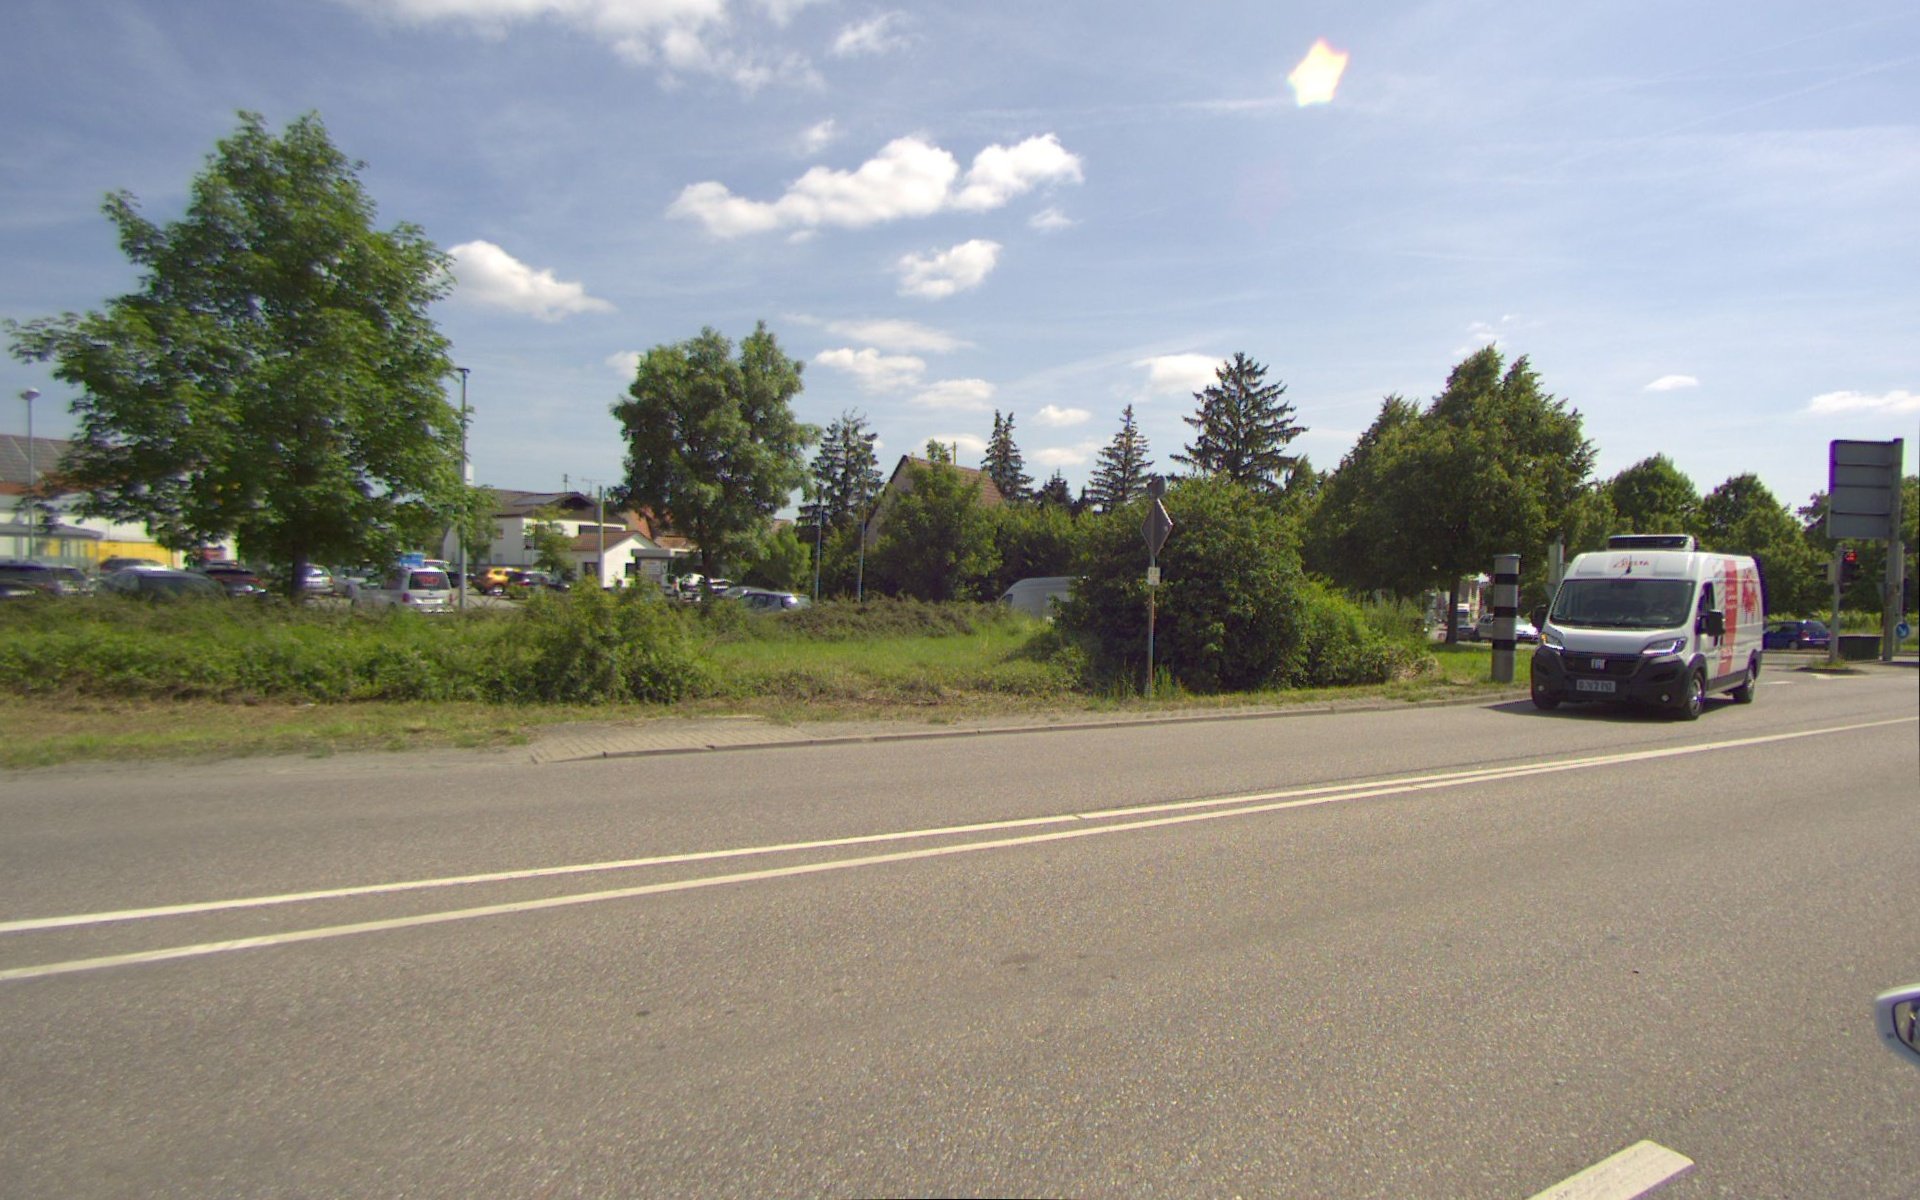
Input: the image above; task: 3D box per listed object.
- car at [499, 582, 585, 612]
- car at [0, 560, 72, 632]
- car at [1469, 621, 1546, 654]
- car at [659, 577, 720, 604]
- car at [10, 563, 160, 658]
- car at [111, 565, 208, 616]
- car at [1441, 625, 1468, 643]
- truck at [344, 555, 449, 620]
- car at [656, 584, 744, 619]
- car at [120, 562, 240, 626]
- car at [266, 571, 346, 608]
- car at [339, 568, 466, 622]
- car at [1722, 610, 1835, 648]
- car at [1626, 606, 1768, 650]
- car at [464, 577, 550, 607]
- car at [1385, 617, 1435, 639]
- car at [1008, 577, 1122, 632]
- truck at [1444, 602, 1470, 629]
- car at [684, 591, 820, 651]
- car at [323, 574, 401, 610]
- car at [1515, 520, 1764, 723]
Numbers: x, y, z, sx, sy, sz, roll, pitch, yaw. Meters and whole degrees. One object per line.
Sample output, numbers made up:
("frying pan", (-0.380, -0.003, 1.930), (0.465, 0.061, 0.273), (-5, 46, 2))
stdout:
("car", (-24.184, -0.165, 58.201), (1.849, 1.562, 4.243), (2, -1, 37))
("car", (-24.444, -0.153, 25.789), (3.939, 1.697, 1.903), (3, 1, 40))
("car", (27.111, 1.822, 49.911), (1.759, 1.436, 4.048), (0, 0, 2))
("car", (-19.807, -0.690, 73.642), (1.866, 1.782, 3.988), (2, 0, 35))
("car", (-17.198, 0.179, 19.686), (3.941, 1.679, 1.686), (2, 0, 42))
("car", (-26.149, -0.326, 32.786), (3.941, 1.549, 1.770), (2, 0, 41))
("car", (45.093, 3.070, 91.672), (1.962, 1.448, 3.998), (2, 0, 23))
("truck", (-21.978, -0.508, 39.147), (3.932, 2.397, 1.994), (2, 0, 34))
("car", (-13.219, 0.086, 51.247), (1.883, 1.662, 3.984), (2, 0, 38))
("car", (-22.487, -0.187, 28.909), (3.939, 1.711, 1.918), (2, 0, 40))
("car", (-29.924, -0.475, 45.908), (4.193, 1.562, 1.871), (2, 0, 40))
("car", (-18.955, -0.192, 34.118), (4.353, 1.717, 1.994), (1, 0, 34))
("car", (37.729, 1.307, 46.427), (1.836, 1.568, 4.112), (1, 0, 0))
("car", (27.732, 1.017, 37.989), (1.778, 1.480, 4.251), (1, 0, -11))
("car", (-26.762, -0.452, 59.457), (1.849, 1.562, 4.243), (2, -1, 37))
("car", (29.865, 1.843, 66.762), (1.706, 1.322, 4.283), (1, 0, 5))
("car", (4.552, 0.172, 43.700), (4.524, 2.209, 1.992), (2, 1, 37))
("truck", (74.744, 2.285, 150.914), (2.894, 3.848, 7.911), (1, 0, 30))
("car", (-6.719, 0.653, 32.422), (3.928, 1.751, 1.997), (2, 0, 29))
("car", (-28.646, -0.398, 48.051), (4.193, 1.562, 1.871), (2, 0, 40))
("car", (11.066, 0.299, 16.129), (5.945, 2.690, 2.097), (1, 1, -44))
